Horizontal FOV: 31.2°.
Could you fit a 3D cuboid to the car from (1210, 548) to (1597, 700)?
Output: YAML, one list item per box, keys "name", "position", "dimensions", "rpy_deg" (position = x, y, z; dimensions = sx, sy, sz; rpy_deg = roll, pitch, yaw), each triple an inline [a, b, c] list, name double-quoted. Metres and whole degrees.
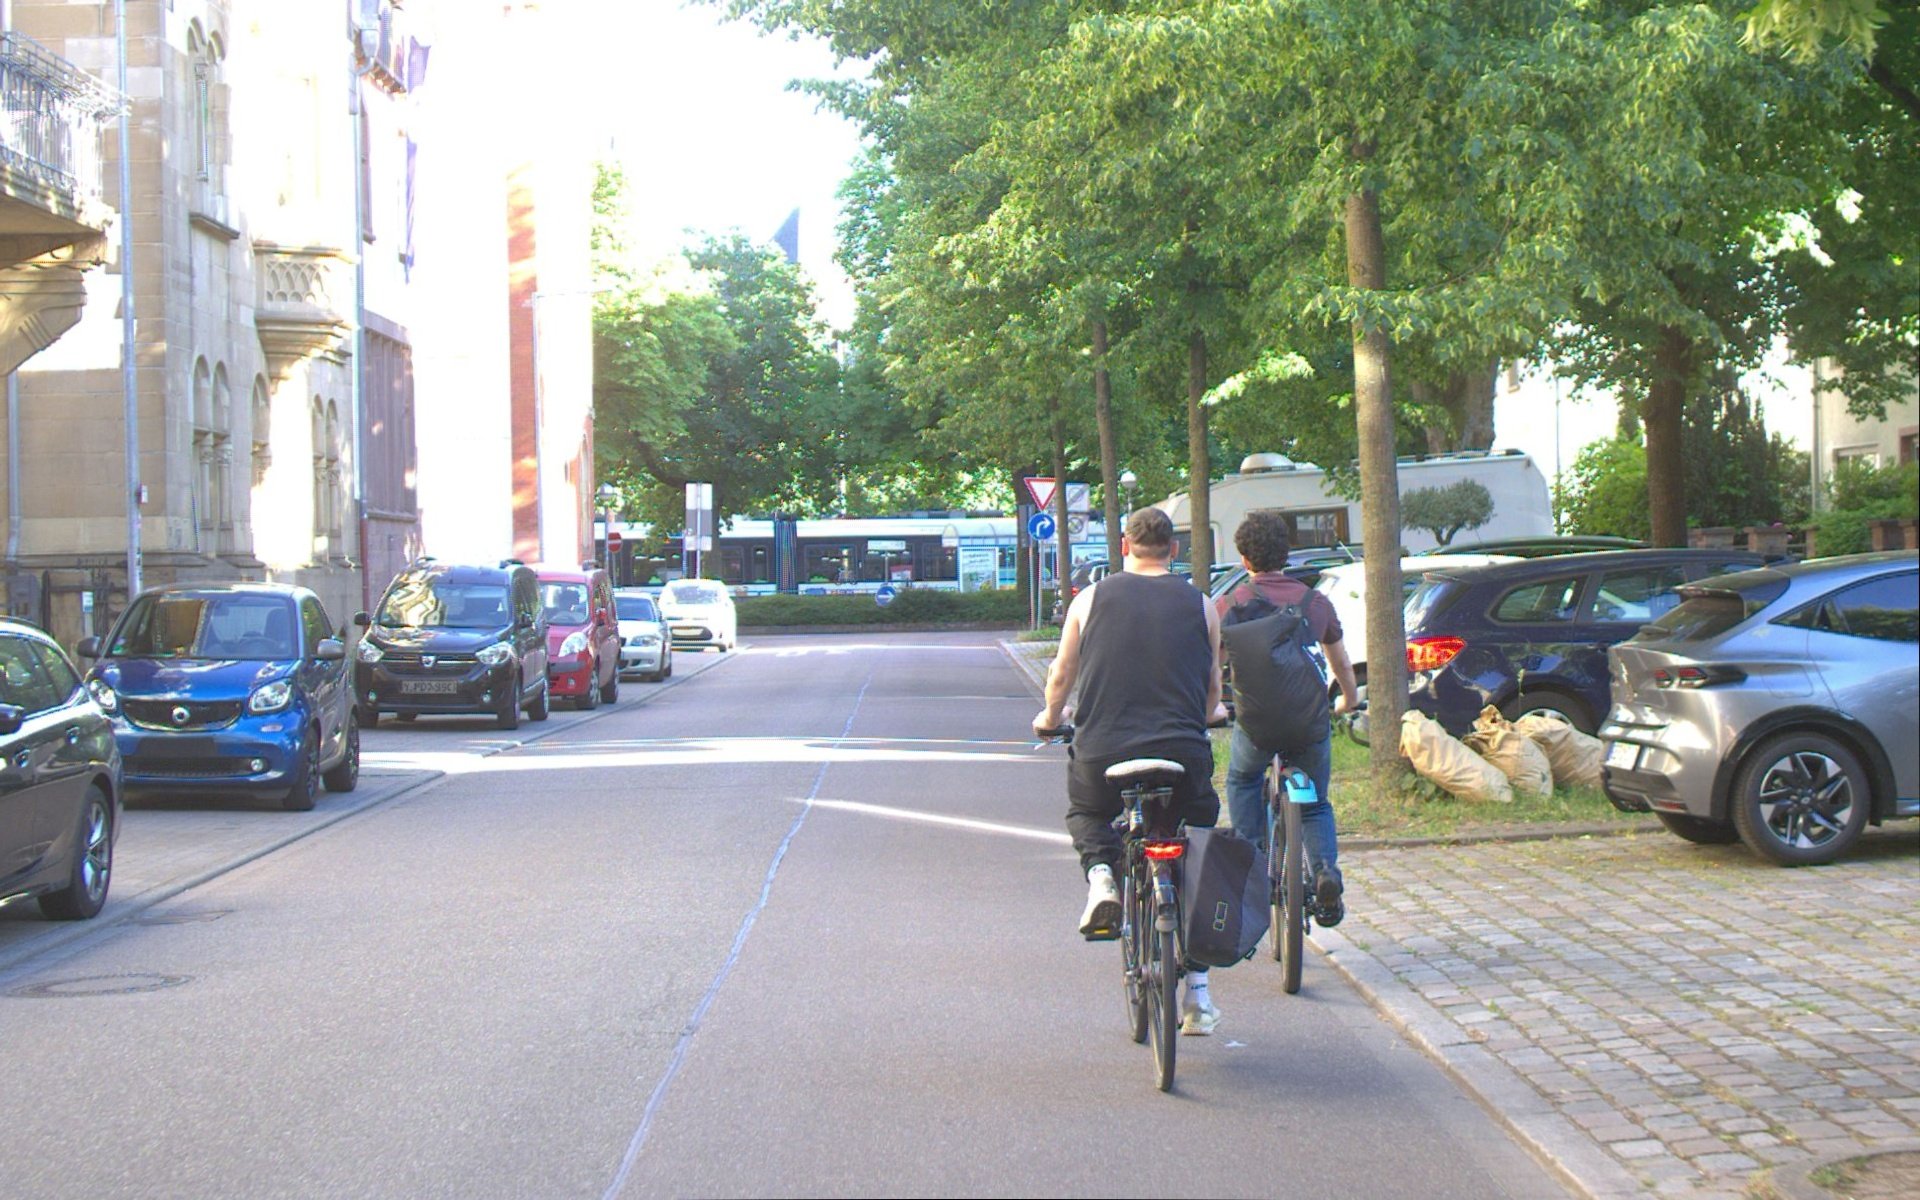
- name: "car"
  position: [5.069, 0.286, 39.639]
  dimensions: [4.138, 1.594, 1.702]
  rpy_deg: [-2, -1, -3]

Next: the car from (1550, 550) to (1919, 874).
- name: "car"
  position: [5.072, 0.475, 16.689]
  dimensions: [4.032, 1.449, 1.691]
  rpy_deg: [-1, 0, -4]

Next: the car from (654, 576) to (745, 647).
- name: "car"
  position: [-5.476, 0.221, 72.526]
  dimensions: [1.583, 1.371, 4.131]
  rpy_deg: [1, 1, 0]

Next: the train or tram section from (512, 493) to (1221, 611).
- name: "train or tram section"
  position: [-2.870, -1.500, 115.225]
  dimensions: [23.800, 3.696, 4.287]
  rpy_deg: [0, 0, -22]

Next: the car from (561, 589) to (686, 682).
- name: "car"
  position: [-5.352, 0.545, 55.103]
  dimensions: [1.583, 1.339, 4.131]
  rpy_deg: [1, 1, 0]

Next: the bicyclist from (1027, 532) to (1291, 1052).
- name: "bicyclist"
  position: [0.604, 0.574, 10.706]
  dimensions: [0.730, 1.542, 0.884]
  rpy_deg: [1, 0, -2]

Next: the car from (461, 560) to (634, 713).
- name: "car"
  position: [-5.260, 0.419, 44.244]
  dimensions: [1.689, 1.819, 4.273]
  rpy_deg: [1, 1, 0]

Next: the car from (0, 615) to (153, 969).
- name: "car"
  position: [-4.893, 0.831, 14.960]
  dimensions: [1.675, 1.425, 4.550]
  rpy_deg: [1, 1, 0]

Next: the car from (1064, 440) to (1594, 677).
- name: "car"
  position: [5.227, -0.592, 49.482]
  dimensions: [7.146, 2.968, 2.465]
  rpy_deg: [-3, 0, -3]

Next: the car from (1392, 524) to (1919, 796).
- name: "car"
  position: [5.009, 0.374, 22.140]
  dimensions: [4.223, 1.594, 1.690]
  rpy_deg: [-2, -1, 1]

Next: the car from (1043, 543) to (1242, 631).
- name: "car"
  position: [3.791, -0.270, 71.734]
  dimensions: [3.986, 1.797, 1.834]
  rpy_deg: [0, 0, -2]

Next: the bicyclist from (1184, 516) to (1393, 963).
- name: "bicyclist"
  position: [1.224, 0.503, 12.972]
  dimensions: [0.689, 1.621, 0.998]
  rpy_deg: [0, 0, 0]

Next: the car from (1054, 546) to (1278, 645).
- name: "car"
  position: [3.801, -0.077, 63.848]
  dimensions: [3.986, 1.797, 1.834]
  rpy_deg: [0, 0, -2]

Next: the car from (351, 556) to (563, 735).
- name: "car"
  position: [-5.392, 0.435, 37.341]
  dimensions: [1.640, 1.777, 4.354]
  rpy_deg: [1, 1, 0]

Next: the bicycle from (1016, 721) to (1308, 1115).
- name: "bicycle"
  position: [0.593, 0.942, 10.788]
  dimensions: [0.737, 1.050, 1.956]
  rpy_deg: [1, 0, -2]

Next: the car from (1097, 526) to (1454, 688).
- name: "car"
  position: [3.831, 0.079, 42.167]
  dimensions: [4.082, 1.644, 1.641]
  rpy_deg: [-4, 0, -2]

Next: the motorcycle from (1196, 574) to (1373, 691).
- name: "motorcycle"
  position: [3.251, 0.327, 34.467]
  dimensions: [1.606, 1.137, 0.671]
  rpy_deg: [-1, 1, 33]

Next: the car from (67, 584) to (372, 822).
- name: "car"
  position: [-5.166, 0.683, 24.267]
  dimensions: [1.595, 1.484, 2.737]
  rpy_deg: [2, 1, -2]

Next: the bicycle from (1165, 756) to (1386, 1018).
- name: "bicycle"
  position: [1.168, 1.055, 13.052]
  dimensions: [0.633, 0.796, 1.832]
  rpy_deg: [-2, 1, -1]

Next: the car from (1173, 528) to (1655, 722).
- name: "car"
  position: [4.070, 0.241, 31.305]
  dimensions: [4.139, 1.594, 1.702]
  rpy_deg: [-2, -1, 1]

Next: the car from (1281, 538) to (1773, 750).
- name: "car"
  position: [4.632, 0.373, 28.477]
  dimensions: [3.773, 1.594, 1.690]
  rpy_deg: [-2, -1, 1]
